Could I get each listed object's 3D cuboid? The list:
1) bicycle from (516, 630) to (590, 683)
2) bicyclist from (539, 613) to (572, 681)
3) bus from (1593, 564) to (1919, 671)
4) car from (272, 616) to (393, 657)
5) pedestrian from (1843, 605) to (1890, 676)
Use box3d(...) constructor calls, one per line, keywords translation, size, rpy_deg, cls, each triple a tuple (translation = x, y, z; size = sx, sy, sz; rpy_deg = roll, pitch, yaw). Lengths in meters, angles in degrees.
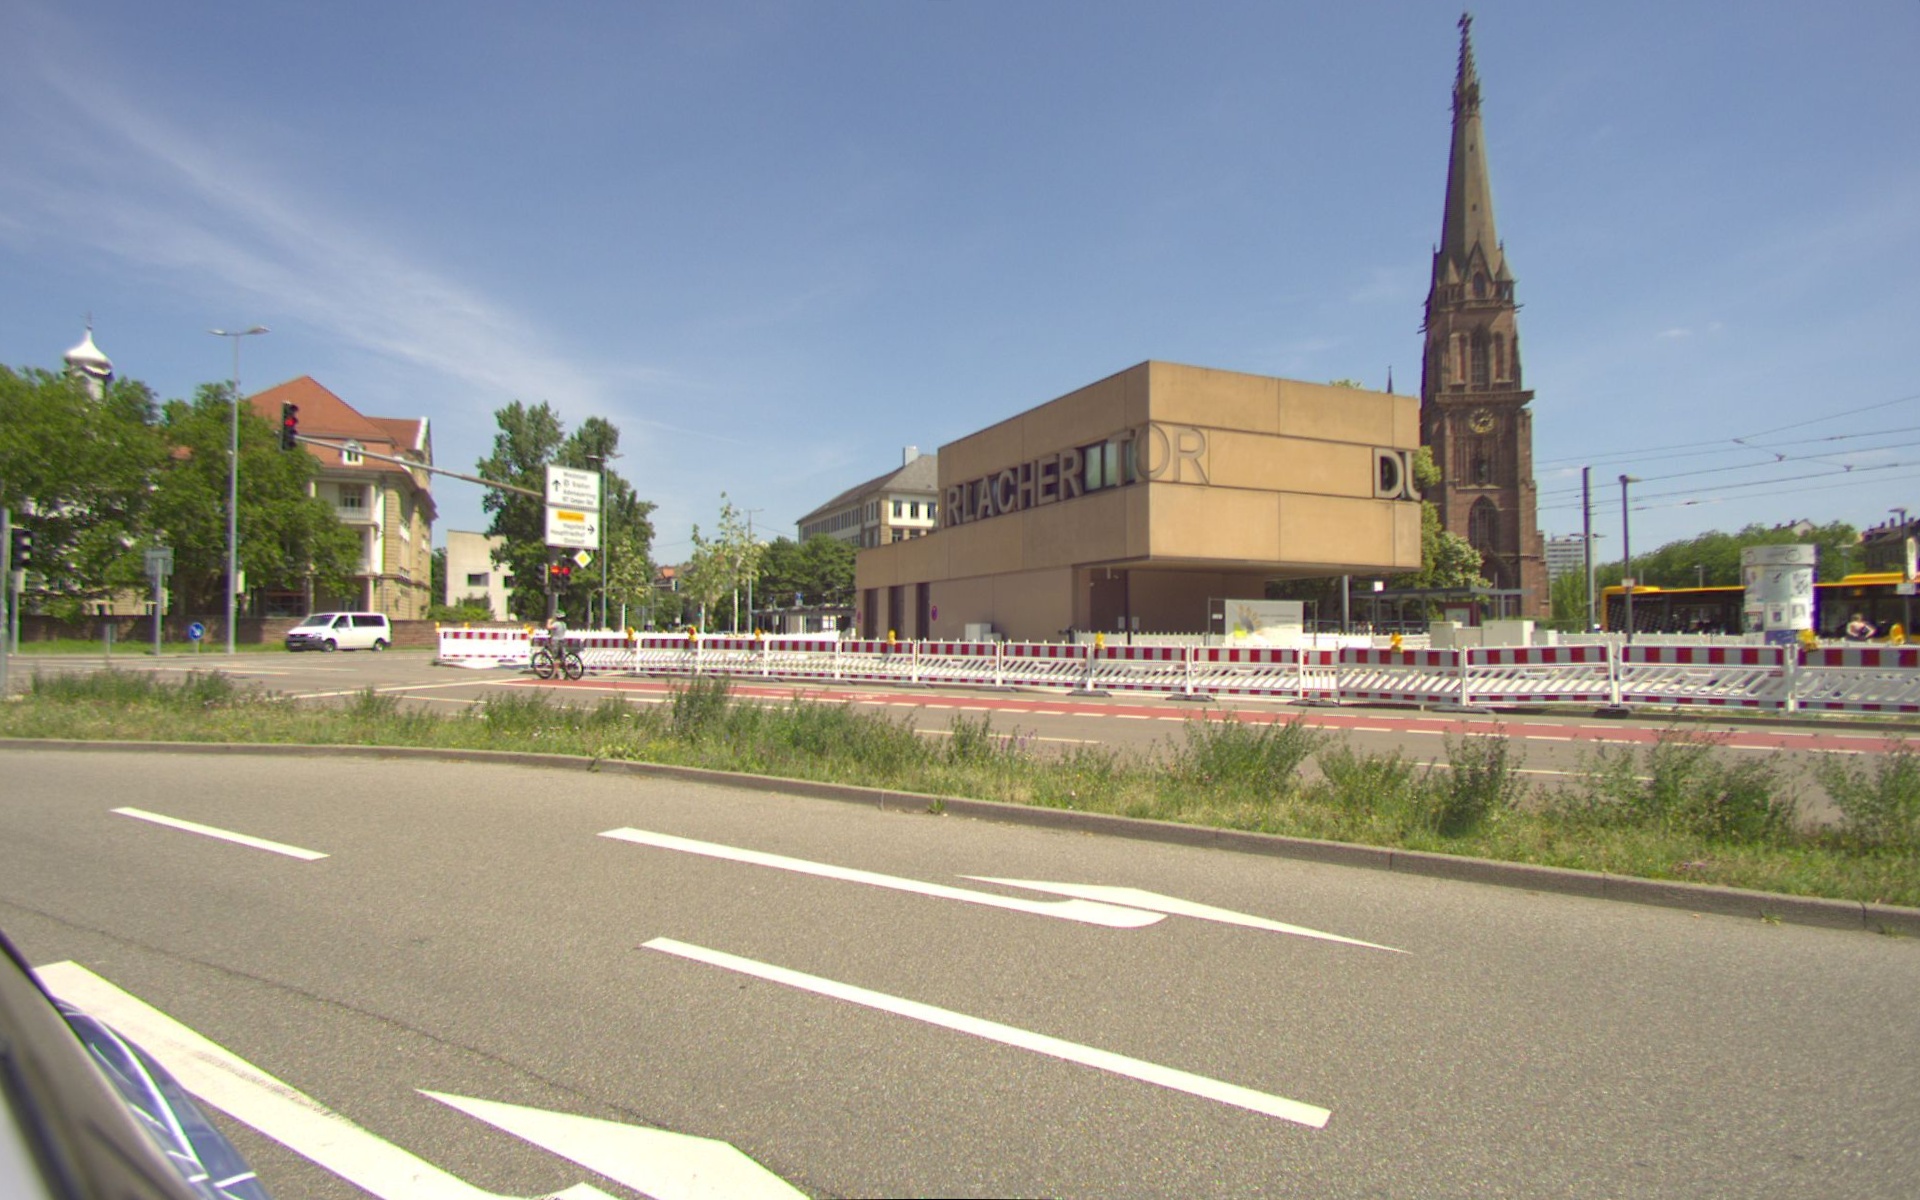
box3d(translation=(-9.612, 1.307, 23.882), size=(1.889, 1.189, 0.519), rpy_deg=(0, -2, 28), cls="bicycle")
box3d(translation=(-9.531, 1.095, 23.849), size=(0.496, 1.591, 0.526), rpy_deg=(0, -1, 28), cls="bicyclist")
box3d(translation=(27.846, 0.622, 32.912), size=(3.674, 3.064, 12.293), rpy_deg=(1, -2, -24), cls="bus")
box3d(translation=(-28.949, 1.684, 46.900), size=(1.912, 1.808, 5.014), rpy_deg=(0, -2, 11), cls="car")
box3d(translation=(26.266, 1.171, 29.322), size=(0.601, 2.011, 0.665), rpy_deg=(-2, -3, -11), cls="pedestrian")
